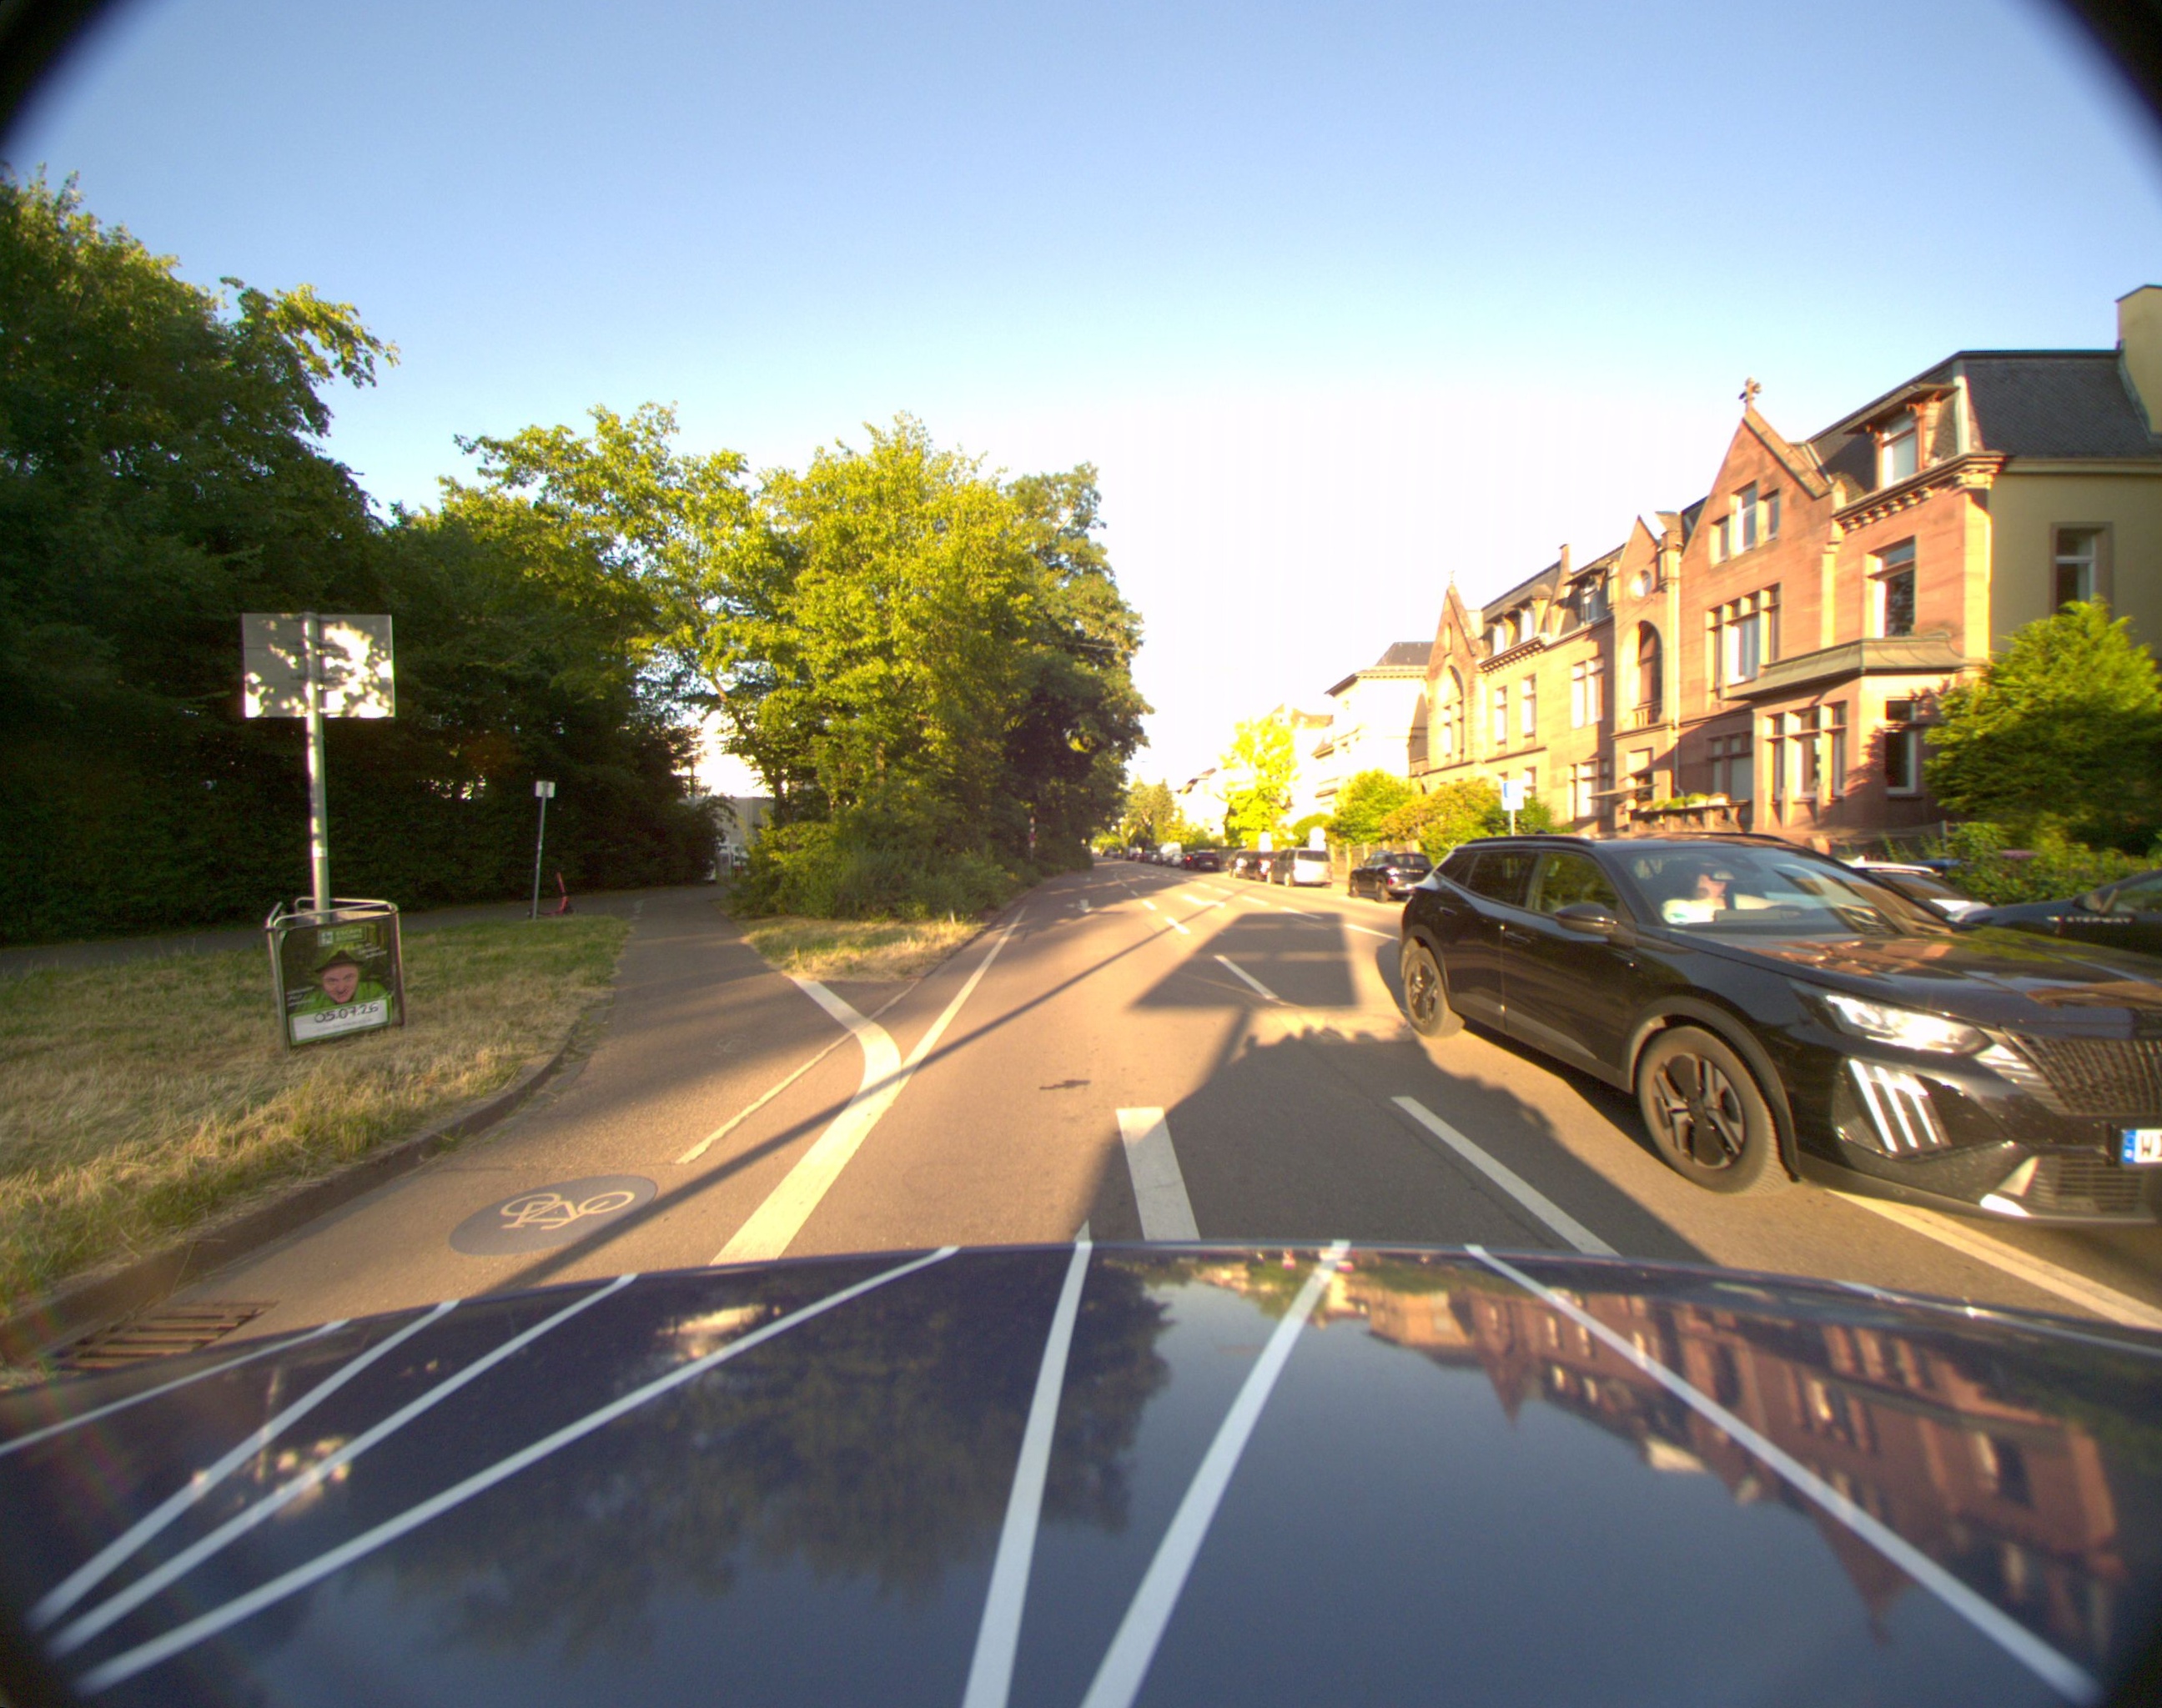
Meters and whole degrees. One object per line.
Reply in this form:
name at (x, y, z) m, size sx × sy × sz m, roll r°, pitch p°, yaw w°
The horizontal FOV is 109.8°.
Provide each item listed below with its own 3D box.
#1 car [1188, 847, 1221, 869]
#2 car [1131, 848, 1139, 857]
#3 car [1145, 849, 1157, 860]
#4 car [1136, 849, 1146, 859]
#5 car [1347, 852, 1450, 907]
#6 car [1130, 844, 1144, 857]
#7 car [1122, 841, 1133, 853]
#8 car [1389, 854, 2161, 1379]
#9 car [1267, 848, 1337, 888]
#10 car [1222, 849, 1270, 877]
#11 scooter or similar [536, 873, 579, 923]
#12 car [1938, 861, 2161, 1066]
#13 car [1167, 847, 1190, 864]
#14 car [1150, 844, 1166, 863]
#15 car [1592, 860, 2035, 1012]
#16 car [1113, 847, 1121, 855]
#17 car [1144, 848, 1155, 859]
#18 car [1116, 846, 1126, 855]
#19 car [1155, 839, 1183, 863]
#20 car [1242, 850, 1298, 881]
car at (9.033, 0.279, 55.729) m, size 1.880 × 1.596 × 3.722 m, roll 0°, pitch 0°, yaw 1°
car at (8.871, -0.279, 124.920) m, size 1.220 × 1.430 × 2.515 m, roll 0°, pitch 1°, yaw 1°
car at (9.062, 0.069, 97.998) m, size 1.292 × 1.430 × 2.883 m, roll 0°, pitch 1°, yaw 1°
car at (9.071, 0.012, 114.809) m, size 1.220 × 1.430 × 2.515 m, roll 0°, pitch 1°, yaw 1°
car at (9.193, 0.686, 22.307) m, size 1.631 × 1.437 × 3.566 m, roll 0°, pitch 0°, yaw 2°
car at (9.639, -0.638, 130.775) m, size 2.203 × 2.201 × 4.527 m, roll 0°, pitch 1°, yaw 1°
car at (9.478, -1.371, 155.401) m, size 1.999 × 2.442 × 5.579 m, roll -1°, pitch 0°, yaw -1°
car at (3.382, 0.784, 4.260) m, size 1.682 × 1.527 × 3.999 m, roll 0°, pitch 0°, yaw 0°
car at (9.162, 0.529, 31.788) m, size 1.716 × 1.579 × 3.752 m, roll 0°, pitch 0°, yaw -1°
car at (8.925, 0.474, 41.423) m, size 1.716 × 1.442 × 3.722 m, roll 0°, pitch 0°, yaw -1°
scooter or similar at (-11.802, 0.982, 17.150) m, size 0.194 × 1.079 × 0.837 m, roll -2°, pitch 0°, yaw 15°
car at (8.999, 0.874, 5.396) m, size 1.631 × 1.526 × 3.723 m, roll 2°, pitch 1°, yaw 2°
car at (9.337, 0.125, 73.153) m, size 1.715 × 1.596 × 3.853 m, roll 0°, pitch 0°, yaw 1°
car at (9.279, -0.072, 92.235) m, size 1.571 × 2.253 × 3.800 m, roll 0°, pitch 1°, yaw 1°
car at (8.970, 0.853, 9.986) m, size 1.608 × 1.435 × 4.433 m, roll 2°, pitch 1°, yaw 2°
car at (9.653, -0.885, 203.417) m, size 1.998 × 2.002 × 4.000 m, roll 0°, pitch 0°, yaw 1°
car at (9.225, -0.069, 102.385) m, size 1.327 × 1.430 × 2.697 m, roll 0°, pitch 1°, yaw 1°
car at (8.967, -0.824, 171.176) m, size 1.998 × 2.002 × 4.000 m, roll -2°, pitch 1°, yaw 2°
car at (9.222, -0.327, 80.011) m, size 2.231 × 2.355 × 5.878 m, roll 0°, pitch 0°, yaw -1°
car at (9.078, 0.528, 36.850) m, size 1.716 × 1.442 × 3.722 m, roll 0°, pitch 0°, yaw -1°
